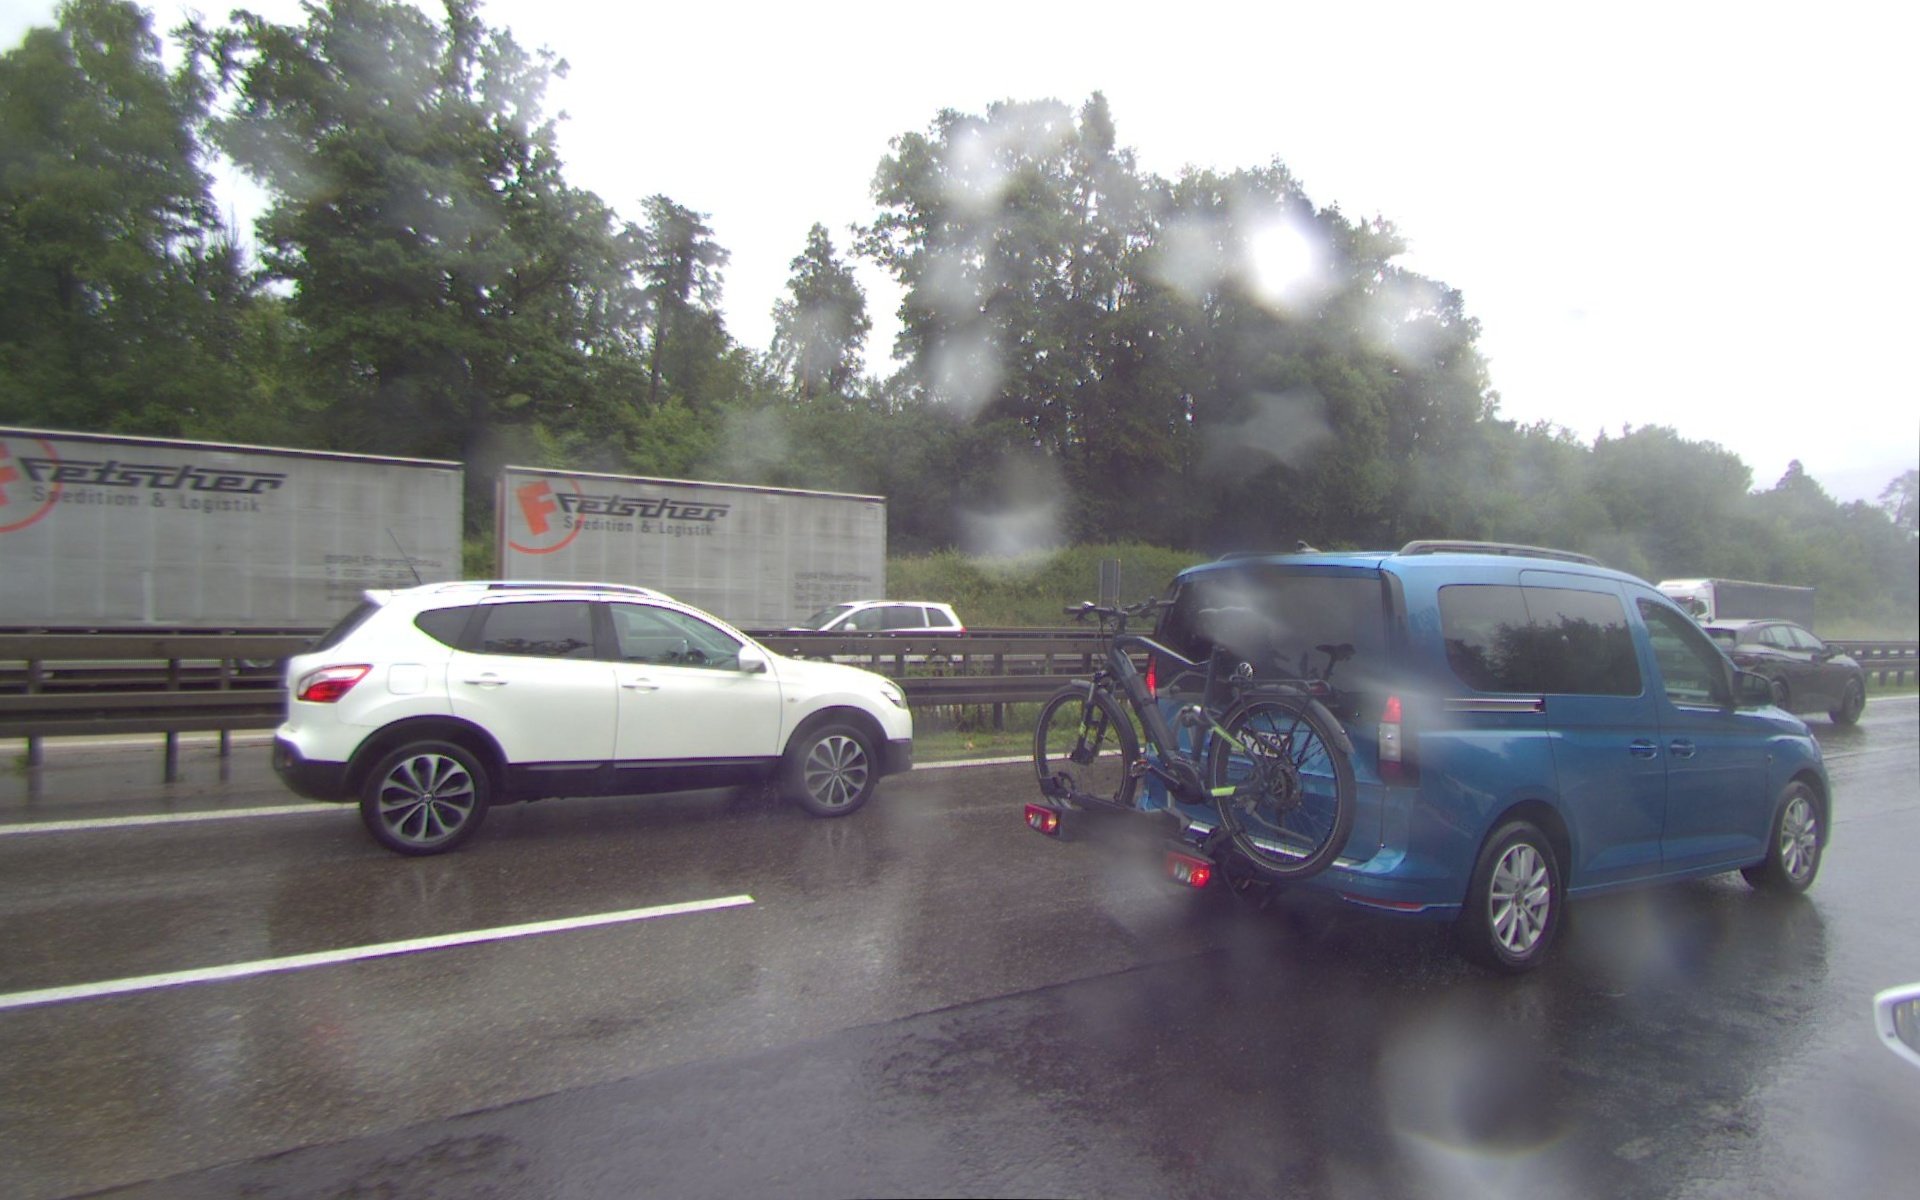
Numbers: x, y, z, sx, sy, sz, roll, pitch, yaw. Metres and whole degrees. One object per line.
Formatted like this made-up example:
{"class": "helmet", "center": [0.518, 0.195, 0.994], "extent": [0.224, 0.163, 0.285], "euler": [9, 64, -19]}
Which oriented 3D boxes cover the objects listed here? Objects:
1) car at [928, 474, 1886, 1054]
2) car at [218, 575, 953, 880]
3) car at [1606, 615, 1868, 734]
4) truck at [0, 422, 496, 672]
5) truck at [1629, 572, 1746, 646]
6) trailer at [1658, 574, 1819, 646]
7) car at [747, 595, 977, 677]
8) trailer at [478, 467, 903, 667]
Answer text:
{"class": "car", "center": [2.540, 0.587, 5.531], "extent": [4.952, 1.937, 2.260], "euler": [1, 0, -28]}
{"class": "car", "center": [-2.424, 0.709, 7.198], "extent": [4.412, 1.613, 1.837], "euler": [1, 0, -29]}
{"class": "car", "center": [12.347, 1.090, 15.904], "extent": [4.416, 1.613, 1.836], "euler": [1, 0, -31]}
{"class": "truck", "center": [-13.963, -0.798, 18.233], "extent": [9.903, 3.984, 2.693], "euler": [1, 0, -29]}
{"class": "truck", "center": [40.047, 0.530, 55.281], "extent": [6.192, 3.869, 3.005], "euler": [1, 0, -31]}
{"class": "trailer", "center": [45.814, 0.694, 58.853], "extent": [13.409, 3.868, 3.008], "euler": [1, 0, -32]}
{"class": "car", "center": [-1.949, 0.699, 20.386], "extent": [4.282, 1.517, 1.827], "euler": [1, 0, -31]}
{"class": "trailer", "center": [-5.882, -0.542, 22.761], "extent": [8.899, 3.868, 2.670], "euler": [1, 0, -30]}
